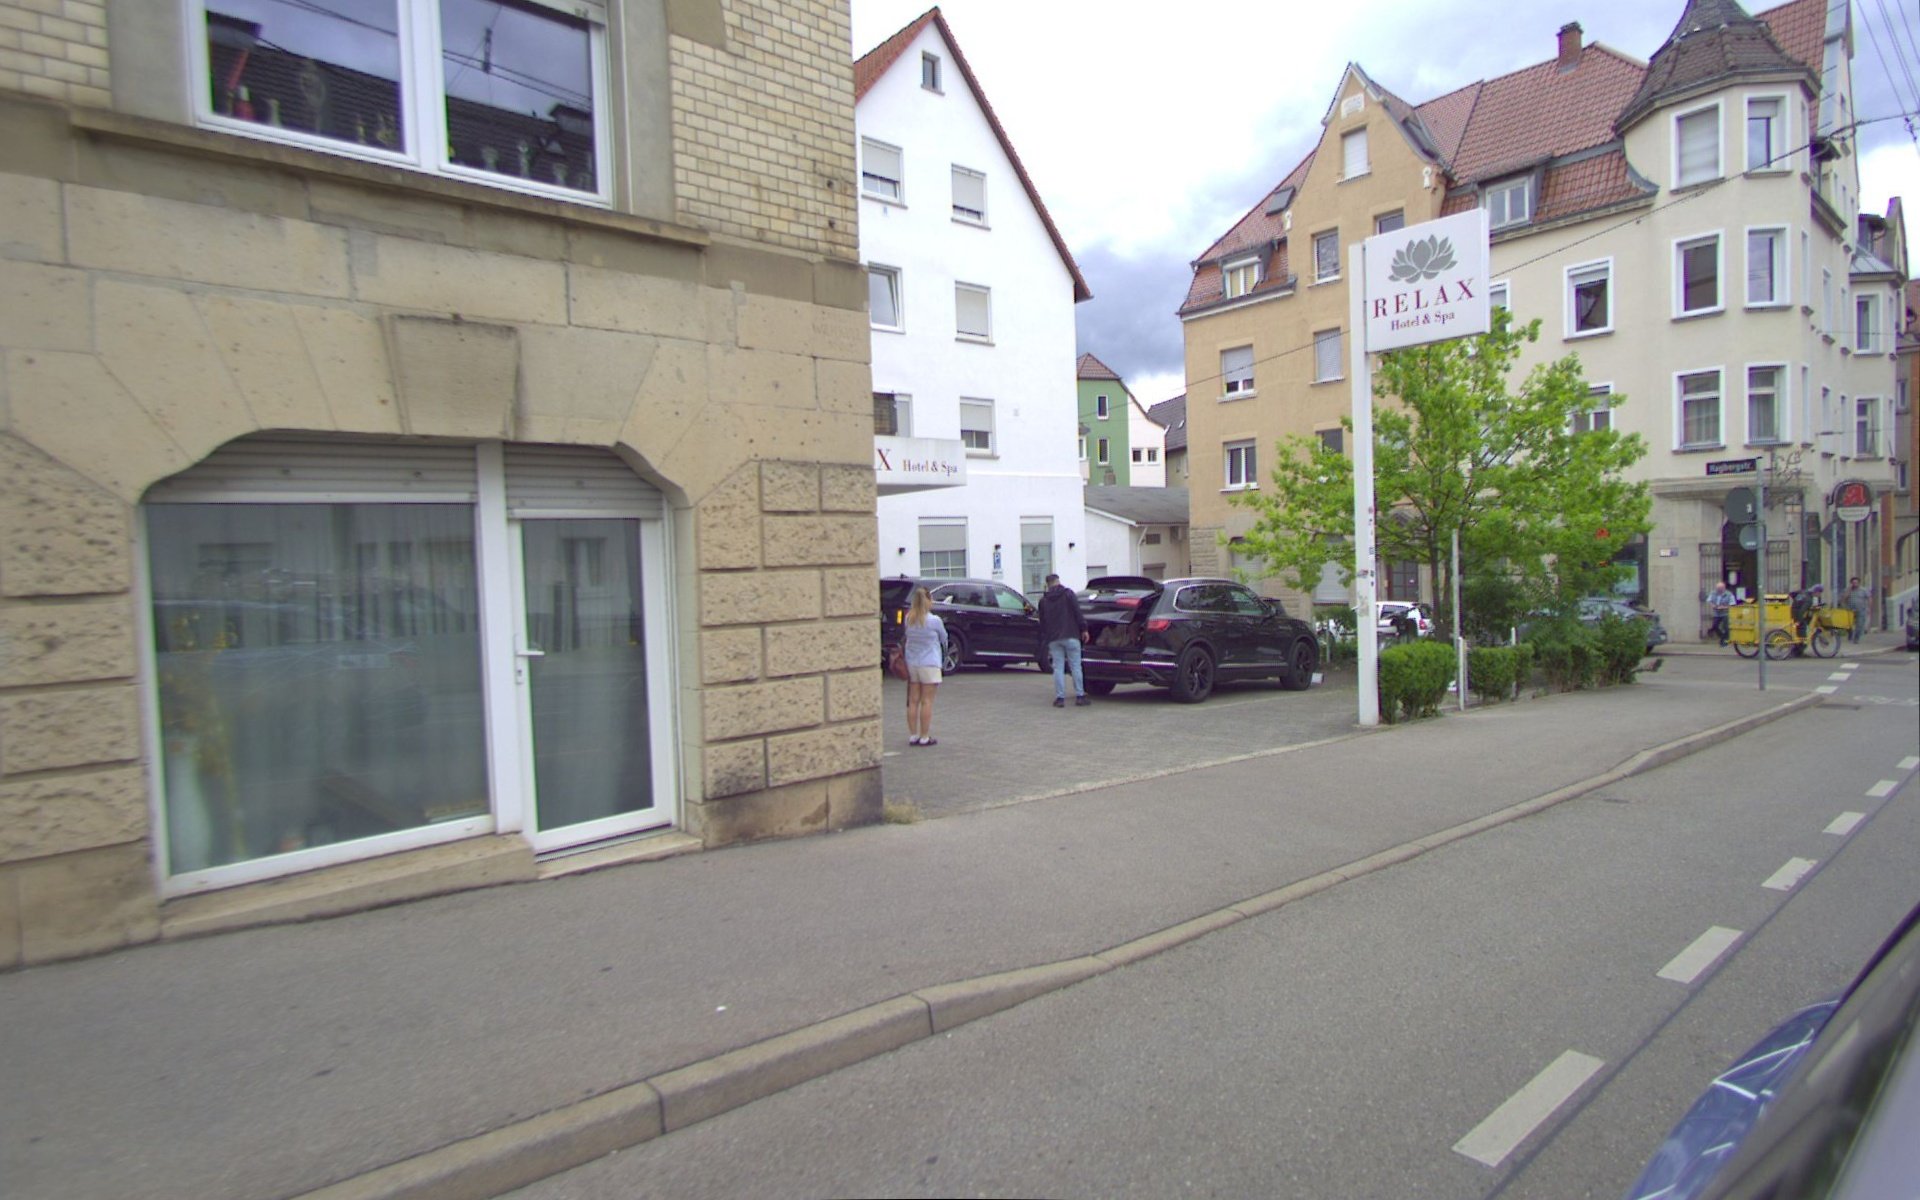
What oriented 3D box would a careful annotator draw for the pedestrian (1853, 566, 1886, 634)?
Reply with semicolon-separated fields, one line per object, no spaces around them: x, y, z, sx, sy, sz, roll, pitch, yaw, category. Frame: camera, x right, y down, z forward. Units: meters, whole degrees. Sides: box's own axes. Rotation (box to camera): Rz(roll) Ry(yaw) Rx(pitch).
24.762;0.002;27.557;0.621;1.826;0.600;0;0;-41;pedestrian

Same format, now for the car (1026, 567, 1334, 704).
3.406;0.421;14.995;5.009;1.704;1.995;0;0;-43;car

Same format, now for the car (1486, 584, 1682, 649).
15.370;0.390;25.070;1.553;1.482;3.851;0;-1;-42;car

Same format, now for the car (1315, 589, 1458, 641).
12.192;0.414;29.065;1.553;1.406;3.436;0;-1;-43;car

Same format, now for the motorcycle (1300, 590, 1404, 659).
7.730;0.450;19.908;2.346;1.118;0.928;-6;3;-43;motorcycle

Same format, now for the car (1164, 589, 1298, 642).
8.692;0.496;32.721;1.553;1.601;3.979;0;-1;-42;car

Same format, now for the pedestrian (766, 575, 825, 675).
-2.880;0.413;17.751;0.696;1.675;0.762;-3;4;-39;pedestrian

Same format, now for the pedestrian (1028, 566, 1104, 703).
1.385;0.437;13.268;0.754;1.729;0.646;0;0;-40;pedestrian

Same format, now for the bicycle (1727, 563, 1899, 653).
18.642;0.170;22.180;2.677;1.890;1.182;-1;-1;1;bicycle

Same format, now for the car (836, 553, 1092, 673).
0.173;0.200;18.640;4.624;1.935;1.996;0;0;-43;car

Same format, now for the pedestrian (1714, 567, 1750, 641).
18.893;0.091;24.770;0.482;1.790;0.485;0;0;-7;pedestrian

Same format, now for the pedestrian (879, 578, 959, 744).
-0.410;0.589;10.246;0.555;1.602;0.679;0;0;27;pedestrian
